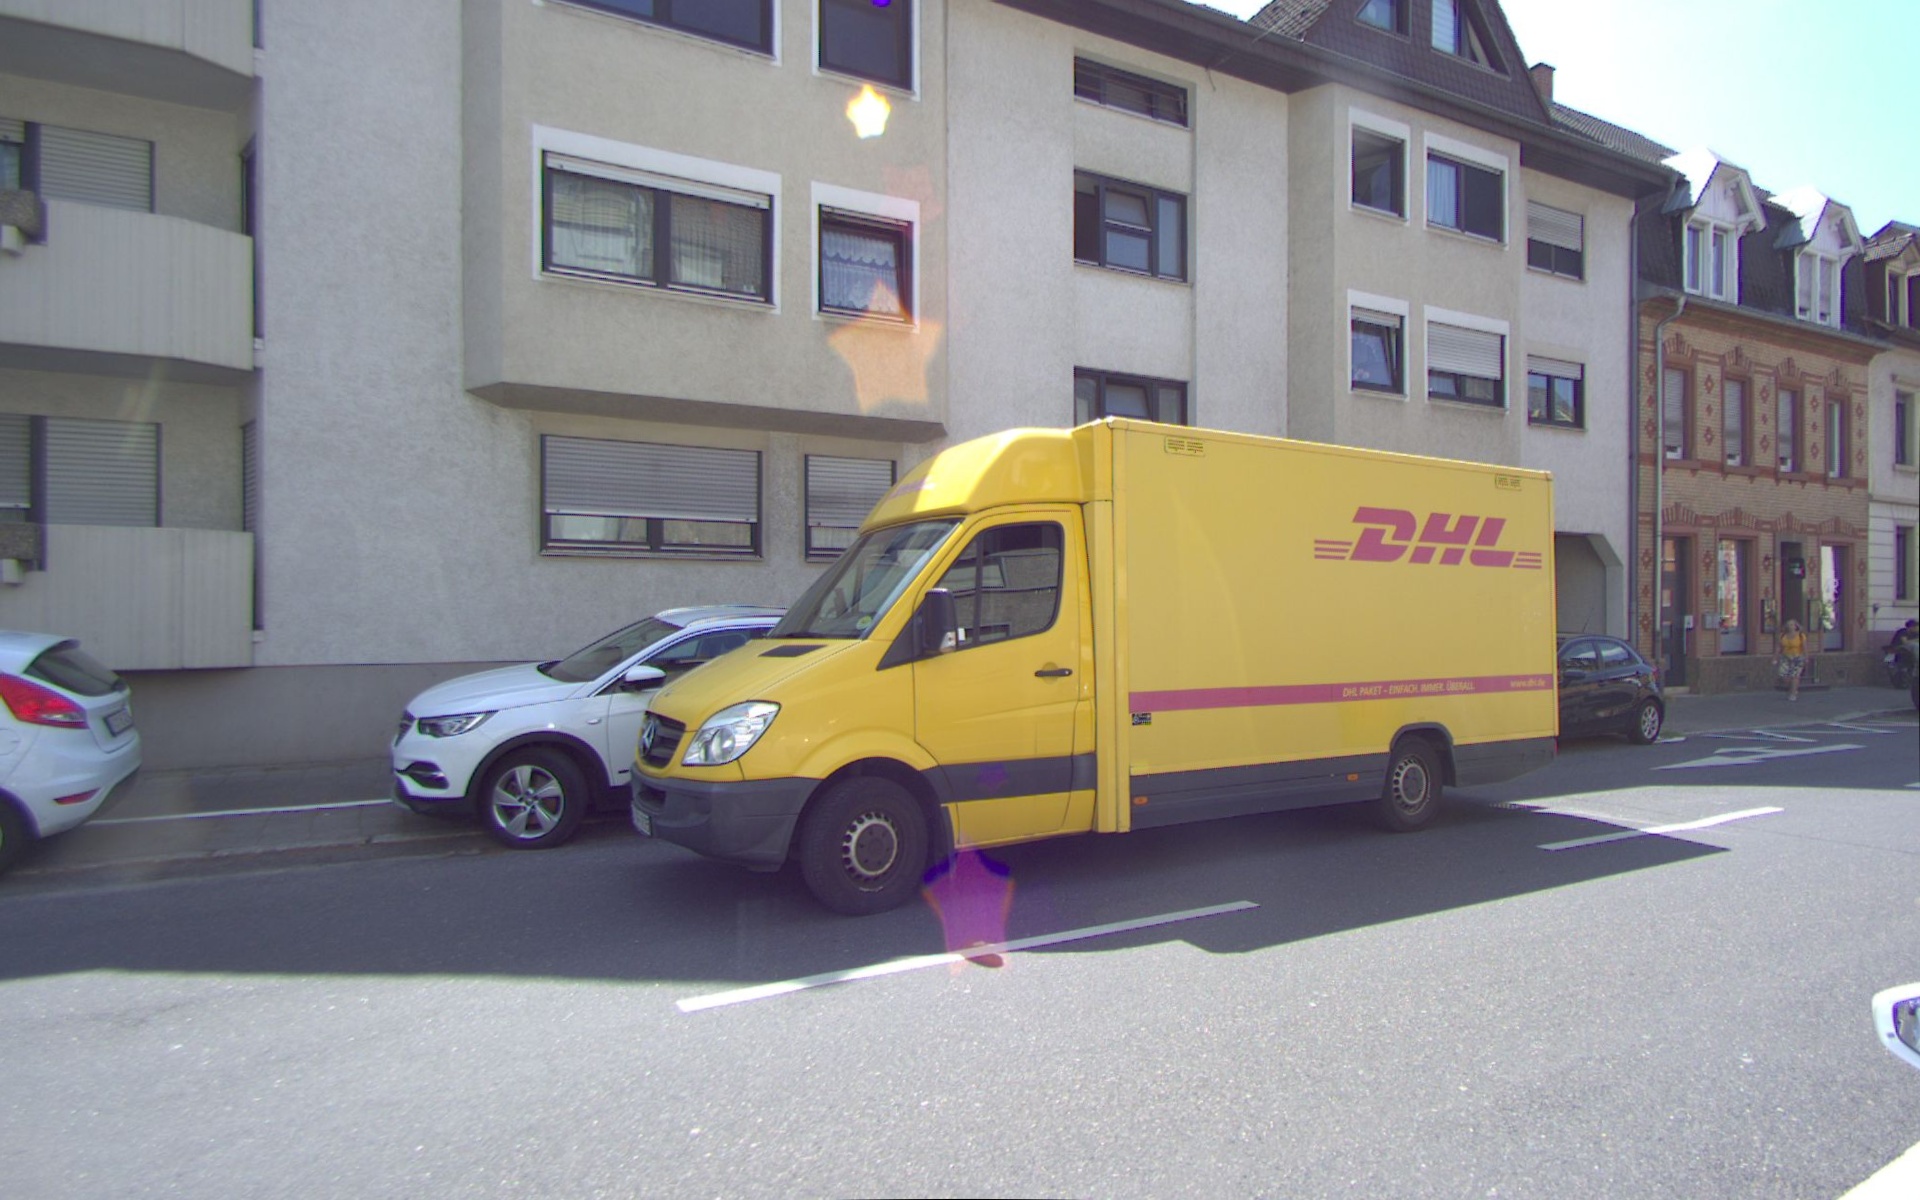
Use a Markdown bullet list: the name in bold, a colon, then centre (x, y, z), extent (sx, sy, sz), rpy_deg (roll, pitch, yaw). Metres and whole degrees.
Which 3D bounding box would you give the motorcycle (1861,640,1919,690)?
- **motorcycle**: centre (21.782, 1.475, 23.212), extent (1.848, 1.093, 0.842), rpy_deg (1, -1, -28)

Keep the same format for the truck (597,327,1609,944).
- **truck**: centre (1.434, 0.241, 7.346), extent (7.470, 2.807, 2.217), rpy_deg (1, -3, -29)

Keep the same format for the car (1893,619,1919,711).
- **car**: centre (19.092, 1.154, 18.196), extent (4.446, 1.617, 1.833), rpy_deg (1, -3, -28)

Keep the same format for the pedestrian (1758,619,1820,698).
- **pedestrian**: centre (16.439, 1.144, 19.921), extent (0.958, 1.515, 0.606), rpy_deg (0, 1, -27)

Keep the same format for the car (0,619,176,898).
- **car**: centre (-7.319, 0.888, 5.651), extent (4.335, 1.509, 1.831), rpy_deg (1, 1, -30)

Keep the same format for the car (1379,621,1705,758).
- **car**: centre (7.913, 1.092, 13.578), extent (4.449, 1.508, 1.831), rpy_deg (1, 1, -30)

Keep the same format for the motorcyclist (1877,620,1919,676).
- **motorcyclist**: centre (21.873, 1.094, 23.273), extent (0.703, 1.264, 0.715), rpy_deg (1, -1, -28)

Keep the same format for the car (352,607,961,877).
- **car**: centre (-2.324, 0.921, 8.104), extent (4.335, 1.617, 1.831), rpy_deg (1, 1, -30)
